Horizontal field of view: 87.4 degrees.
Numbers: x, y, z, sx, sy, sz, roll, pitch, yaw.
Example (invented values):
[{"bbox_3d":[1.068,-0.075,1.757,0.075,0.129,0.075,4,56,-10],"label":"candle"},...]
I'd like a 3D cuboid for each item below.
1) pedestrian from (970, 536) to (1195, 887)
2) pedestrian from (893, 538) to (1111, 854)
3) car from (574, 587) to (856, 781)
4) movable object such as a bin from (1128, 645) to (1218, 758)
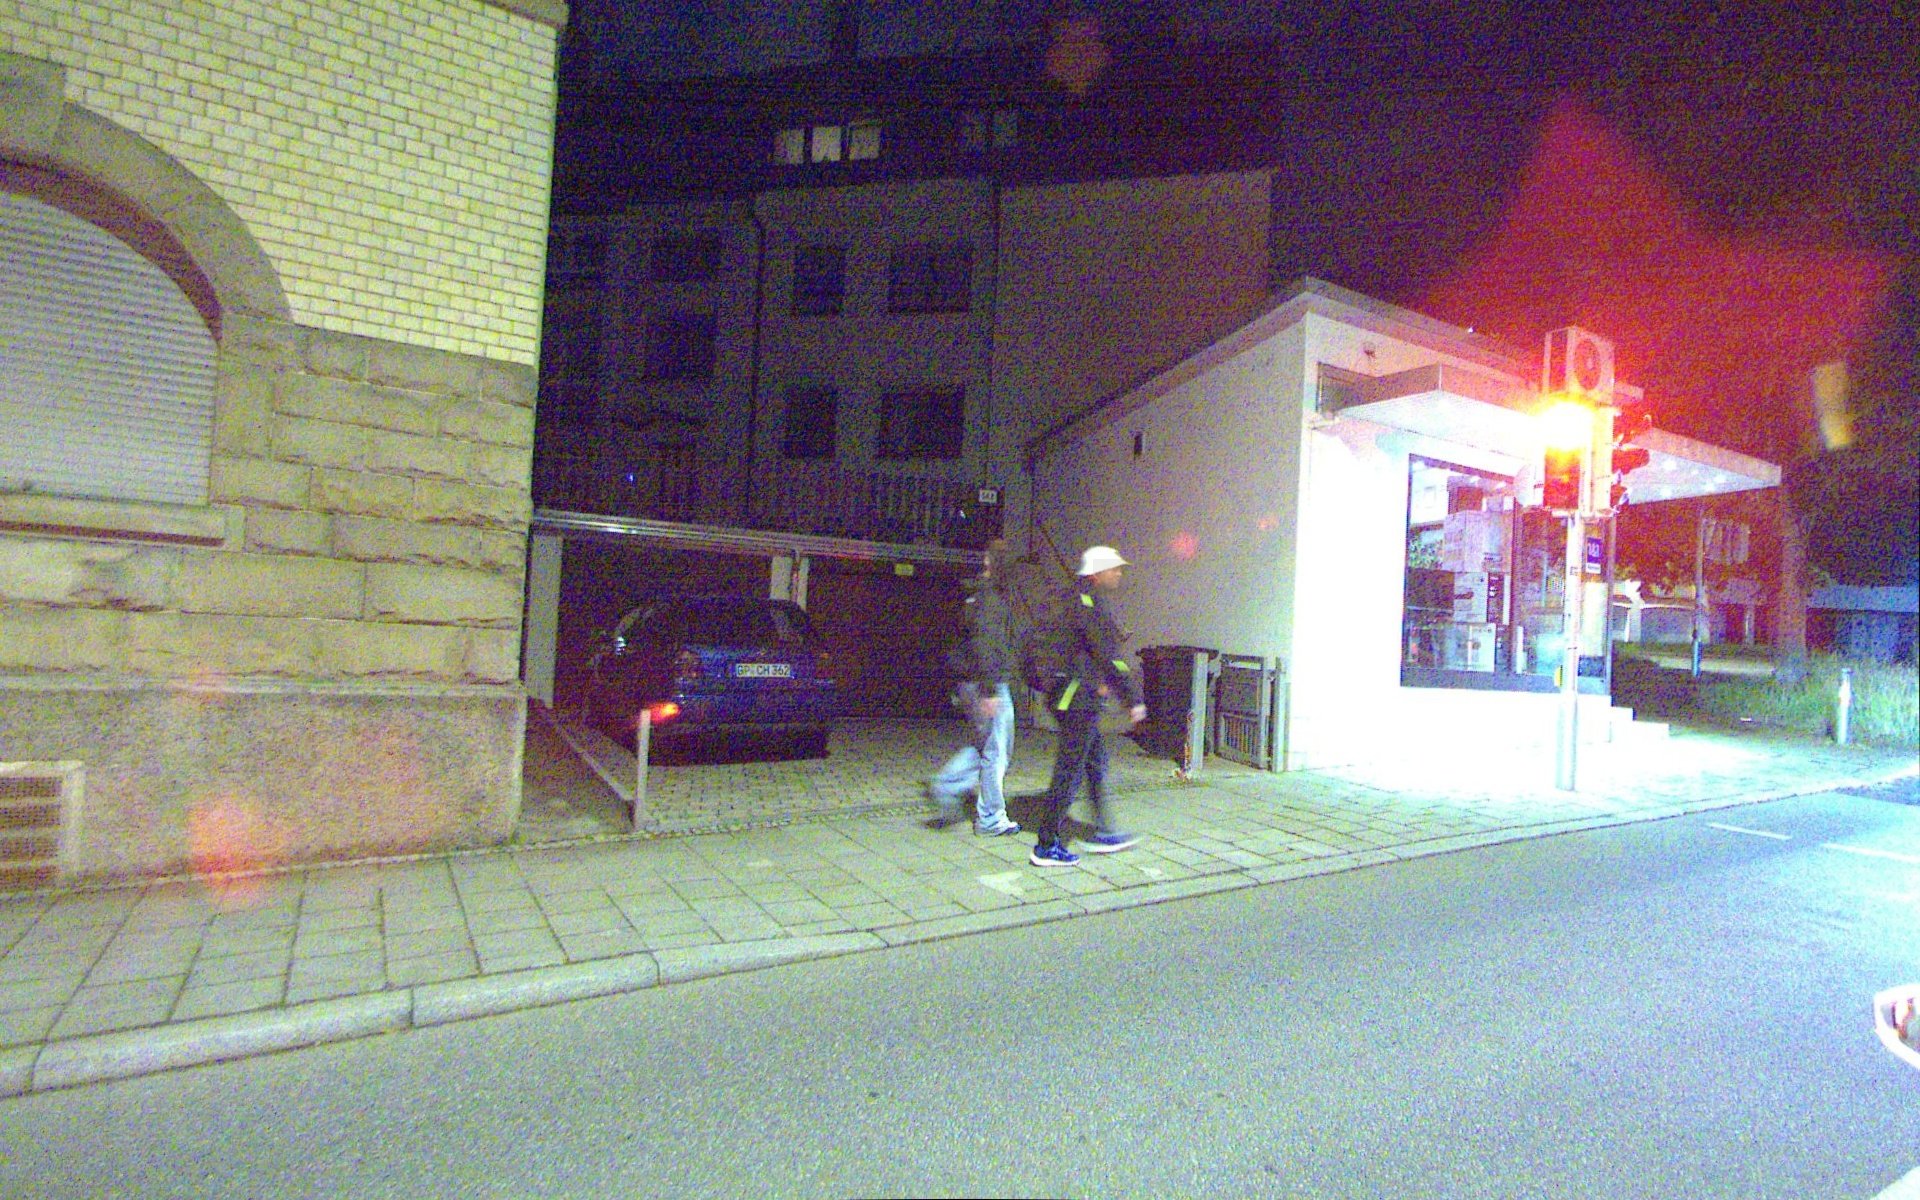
[{"bbox_3d":[0.681,0.576,5.613,1.017,1.768,0.672,2,0,-31],"label":"pedestrian"},{"bbox_3d":[0.256,0.551,6.224,1.091,1.768,0.738,2,0,-31],"label":"pedestrian"},{"bbox_3d":[-2.453,0.650,9.499,1.655,1.470,3.341,2,-1,-31],"label":"car"},{"bbox_3d":[2.116,0.998,10.029,0.643,1.063,0.639,2,0,-12],"label":"movable object such as a bin"}]
